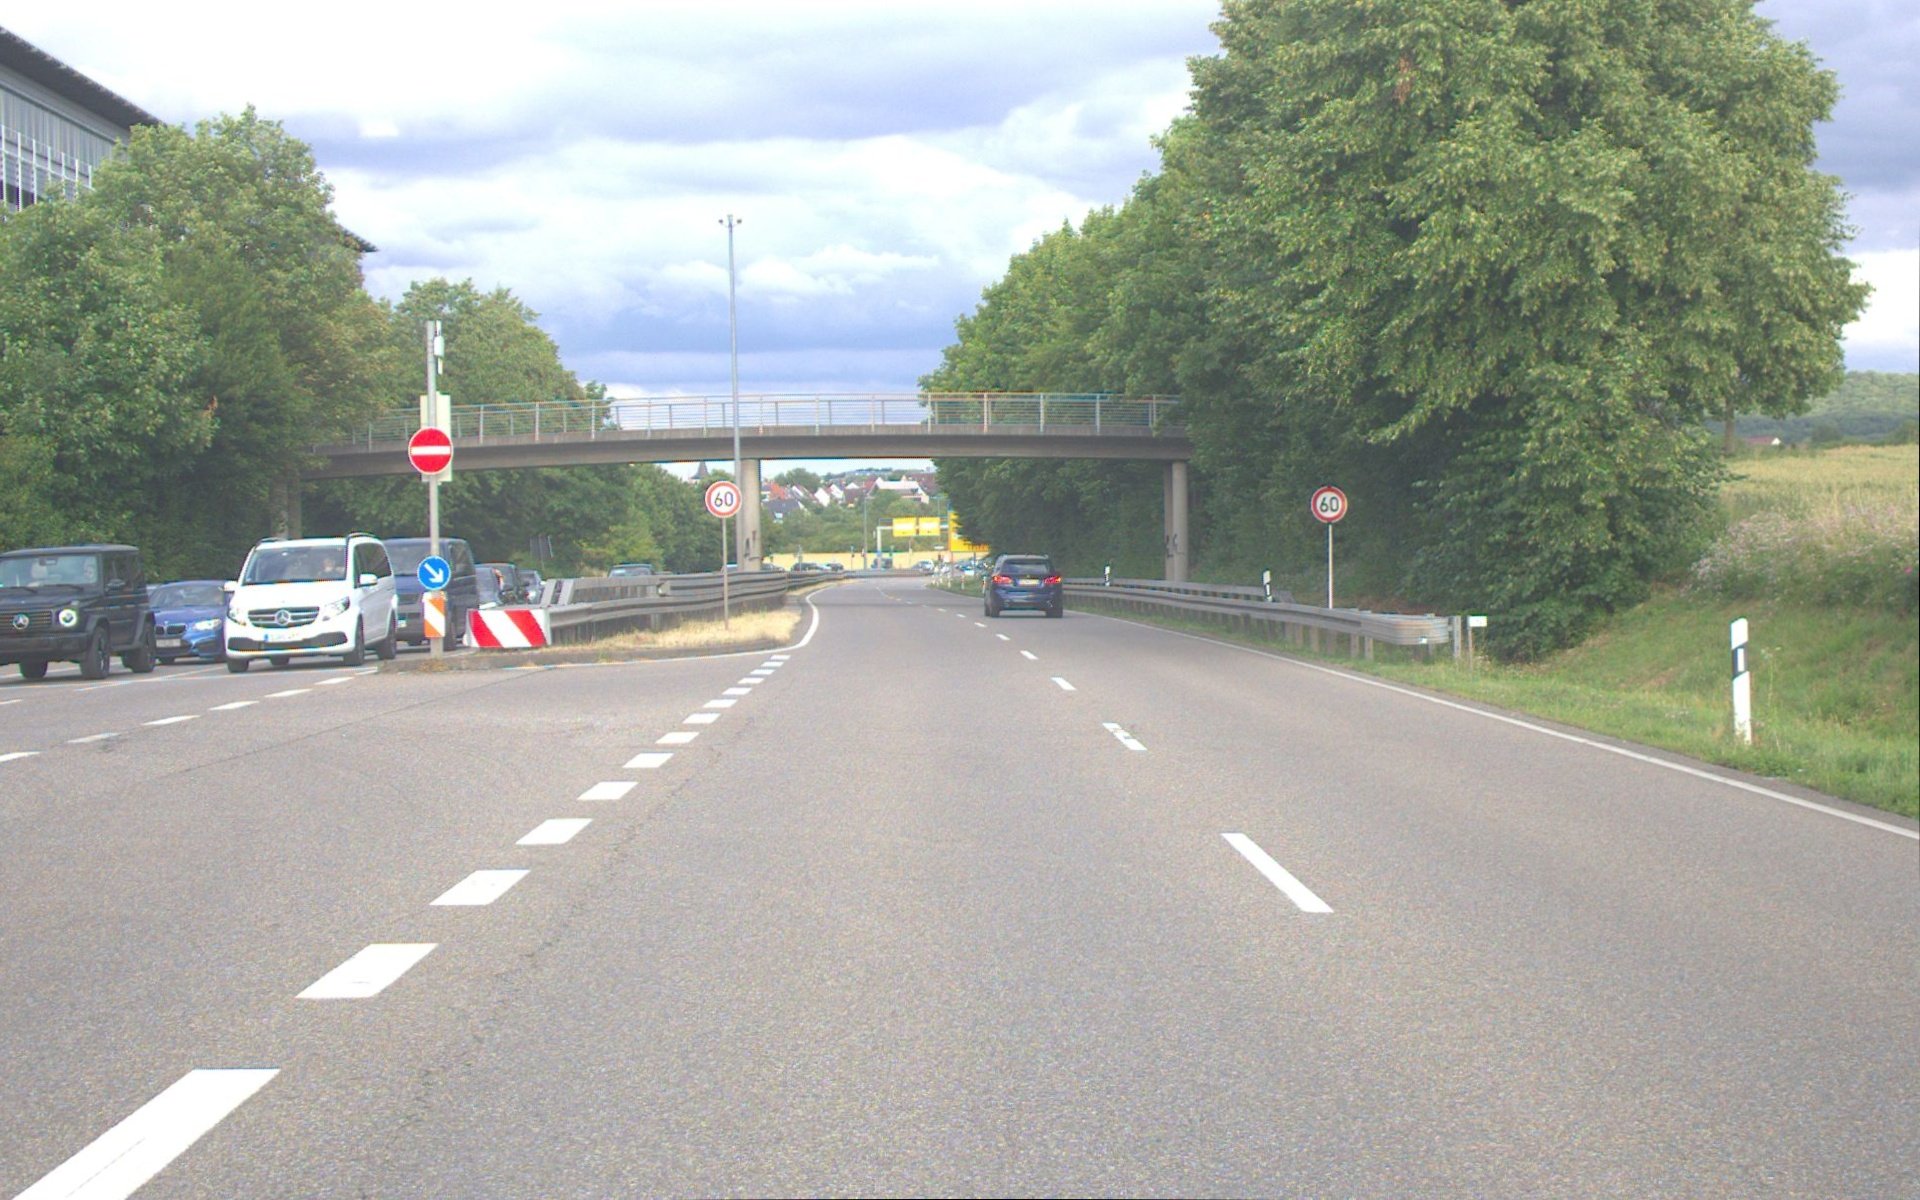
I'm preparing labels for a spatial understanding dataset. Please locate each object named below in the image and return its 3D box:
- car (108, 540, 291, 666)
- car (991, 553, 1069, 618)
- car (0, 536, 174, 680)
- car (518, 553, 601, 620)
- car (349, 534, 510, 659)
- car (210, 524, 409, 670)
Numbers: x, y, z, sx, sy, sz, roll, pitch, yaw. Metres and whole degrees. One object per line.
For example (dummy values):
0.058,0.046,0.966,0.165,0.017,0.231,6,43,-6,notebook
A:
-12.833,0.029,58.320,2.083,2.007,5.217,1,0,-2,car
1.725,-0.364,85.816,1.879,1.547,4.000,1,0,1,car
-13.193,0.085,50.819,2.083,2.007,5.217,1,0,-2,car
-12.384,-0.434,106.588,2.083,2.007,5.217,1,0,-2,car
-8.989,-0.075,58.670,2.083,2.007,5.217,1,0,-2,car
-9.559,-0.064,50.933,2.083,2.007,5.217,1,0,-2,car
